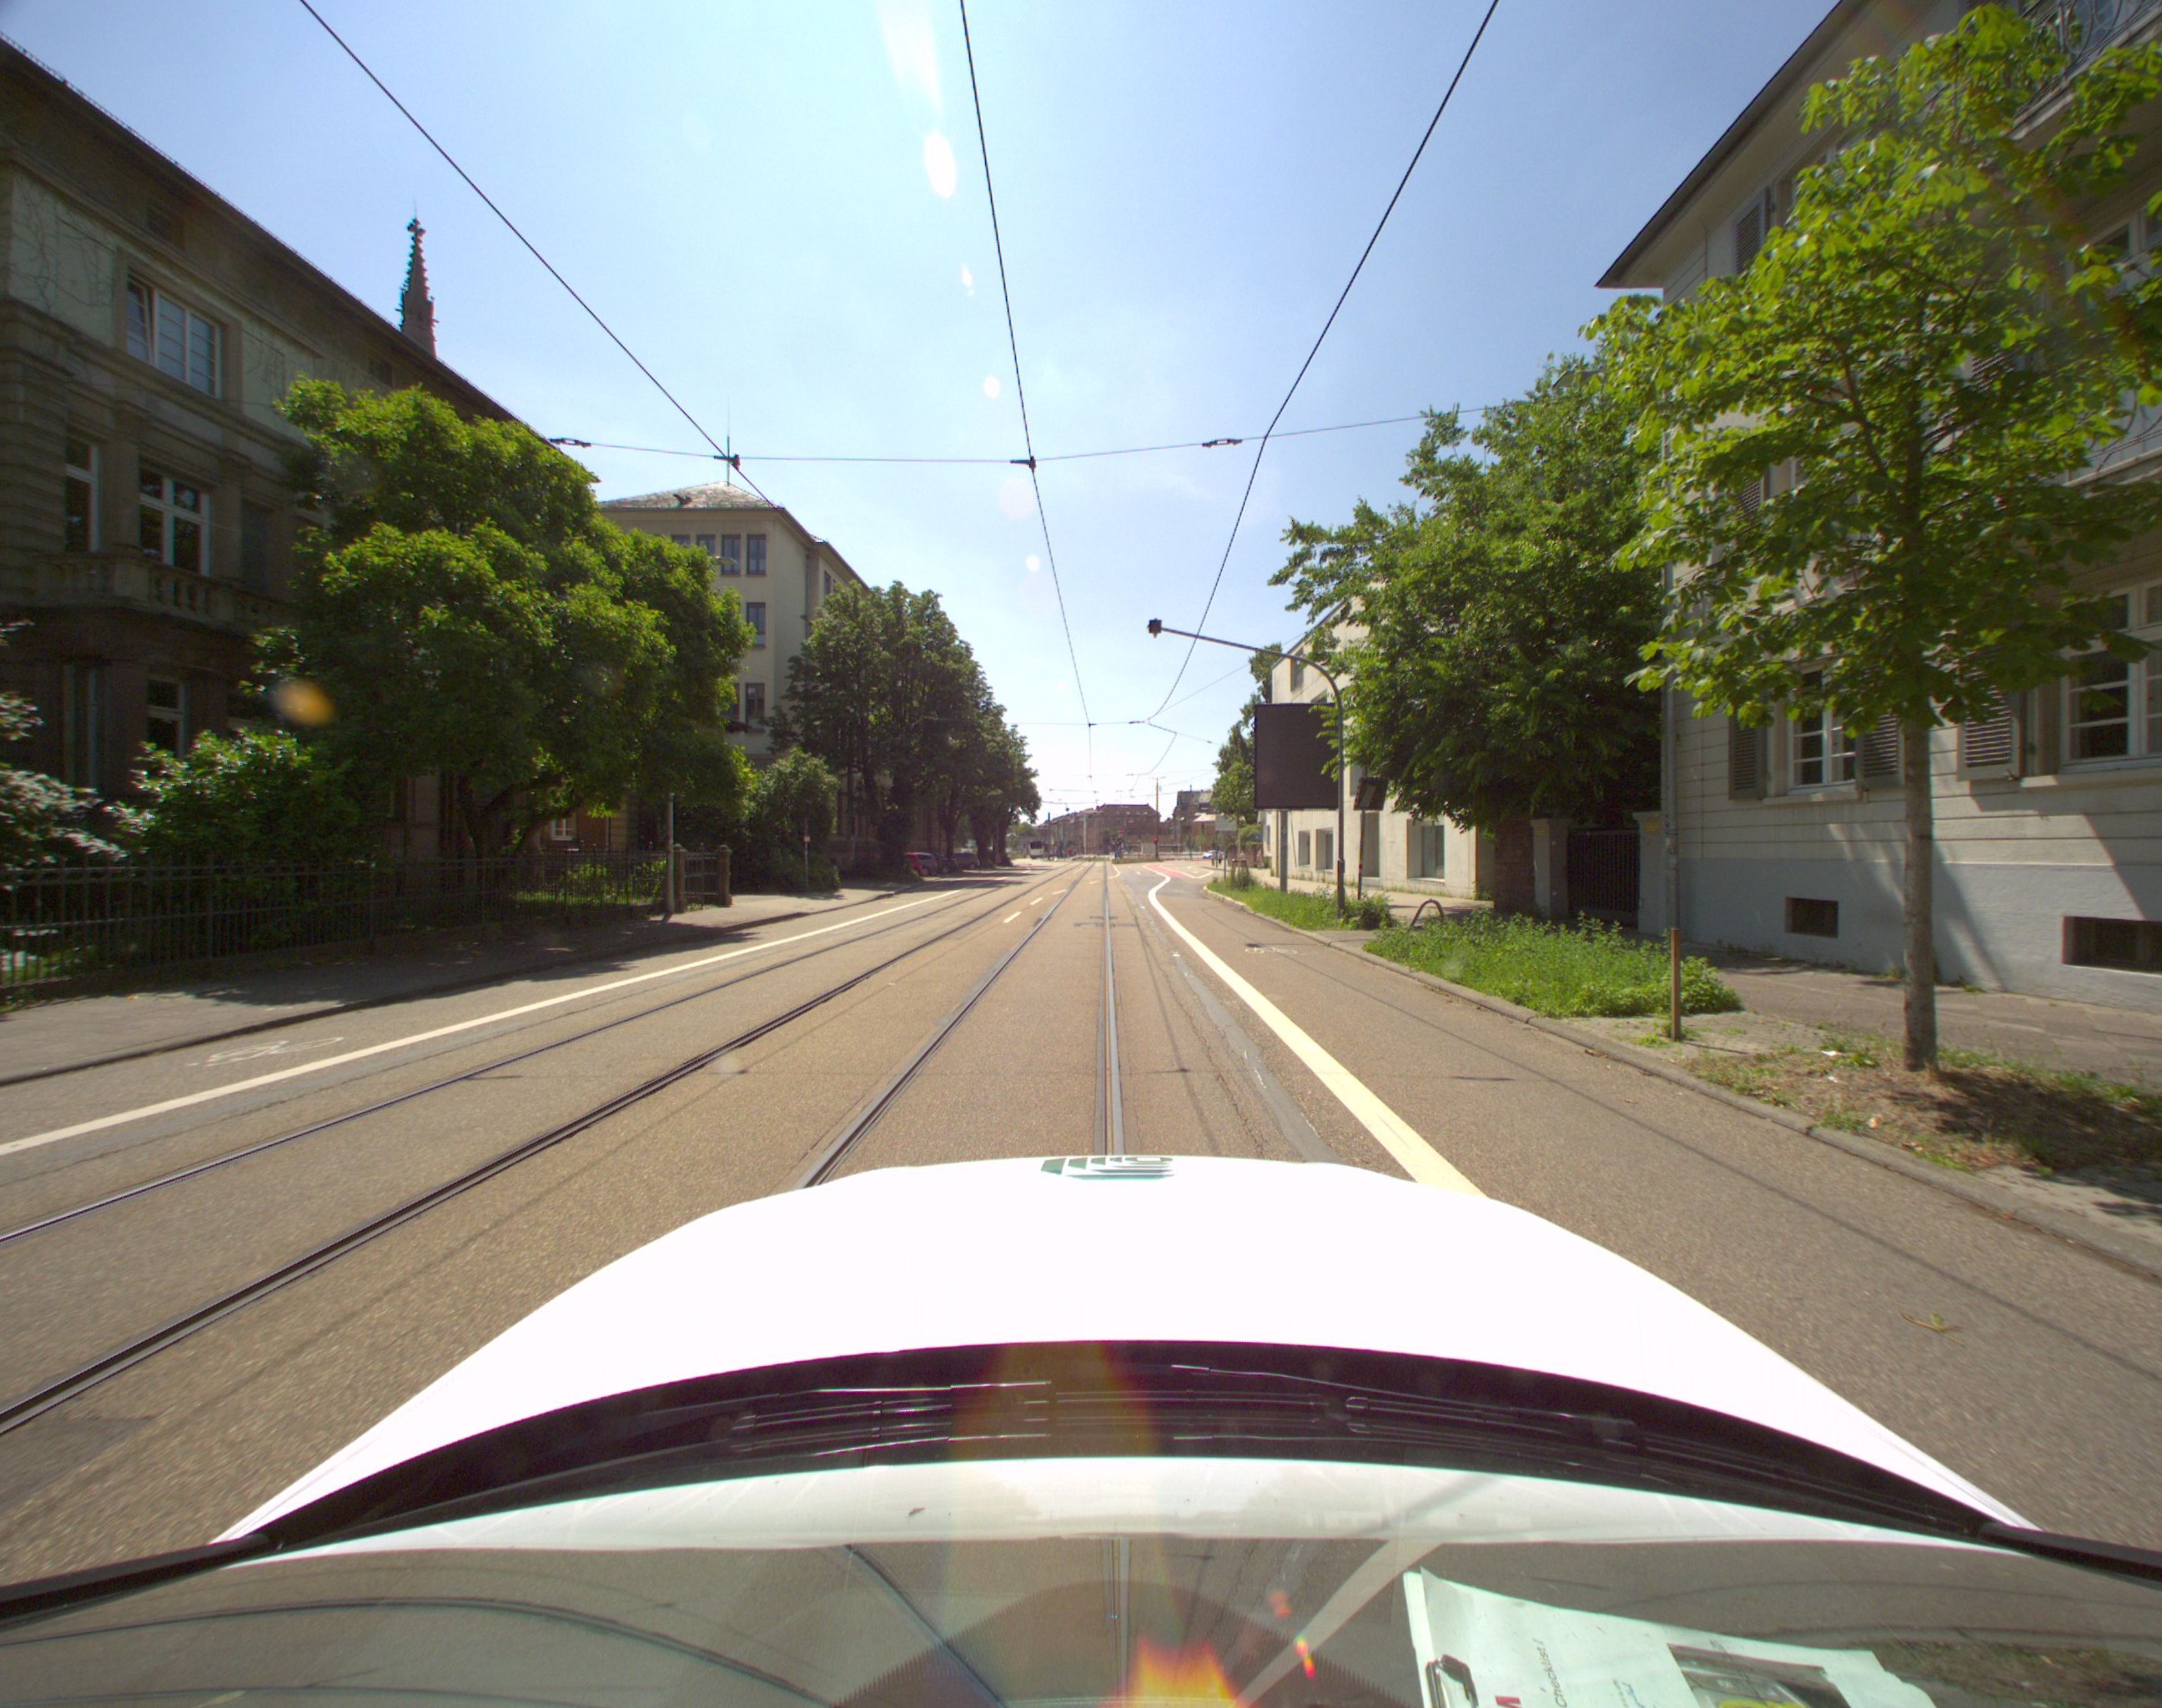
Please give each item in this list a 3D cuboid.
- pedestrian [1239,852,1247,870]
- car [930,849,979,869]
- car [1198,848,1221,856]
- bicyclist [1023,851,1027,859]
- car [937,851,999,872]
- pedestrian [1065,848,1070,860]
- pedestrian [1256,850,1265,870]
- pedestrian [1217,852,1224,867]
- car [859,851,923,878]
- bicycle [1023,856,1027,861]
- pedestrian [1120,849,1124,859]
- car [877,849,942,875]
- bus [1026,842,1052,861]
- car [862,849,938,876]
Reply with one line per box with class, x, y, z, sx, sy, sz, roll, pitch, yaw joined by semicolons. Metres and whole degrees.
pedestrian;15.135;0.684;76.041;0.657;1.647;0.625;0;0;7
car;-10.374;0.389;66.779;3.684;1.520;1.655;1;0;-27
car;21.891;-0.304;138.738;1.974;1.438;4.735;0;0;36
bicyclist;-11.130;0.208;162.688;0.818;1.709;0.770;0;0;0
car;-7.844;0.495;56.533;3.939;1.374;1.656;-1;0;-24
pedestrian;-2.223;0.010;135.171;0.672;1.909;0.639;0;0;-8
pedestrian;15.599;0.525;70.811;0.622;1.773;0.721;3;0;16
pedestrian;16.480;0.629;96.050;0.810;1.808;0.701;0;0;6
car;-11.070;0.617;47.357;3.357;1.516;1.656;1;0;-24
bicycle;-11.141;0.869;162.639;0.501;0.914;2.370;0;0;0
pedestrian;6.787;0.048;135.166;0.526;1.675;0.751;1;-1;-6
car;-11.185;0.496;53.242;3.827;1.577;1.778;0;0;-28
bus;-7.455;-0.481;146.523;2.998;3.158;17.508;0;0;2
car;-11.178;0.525;50.333;4.332;1.584;1.654;1;0;-28
